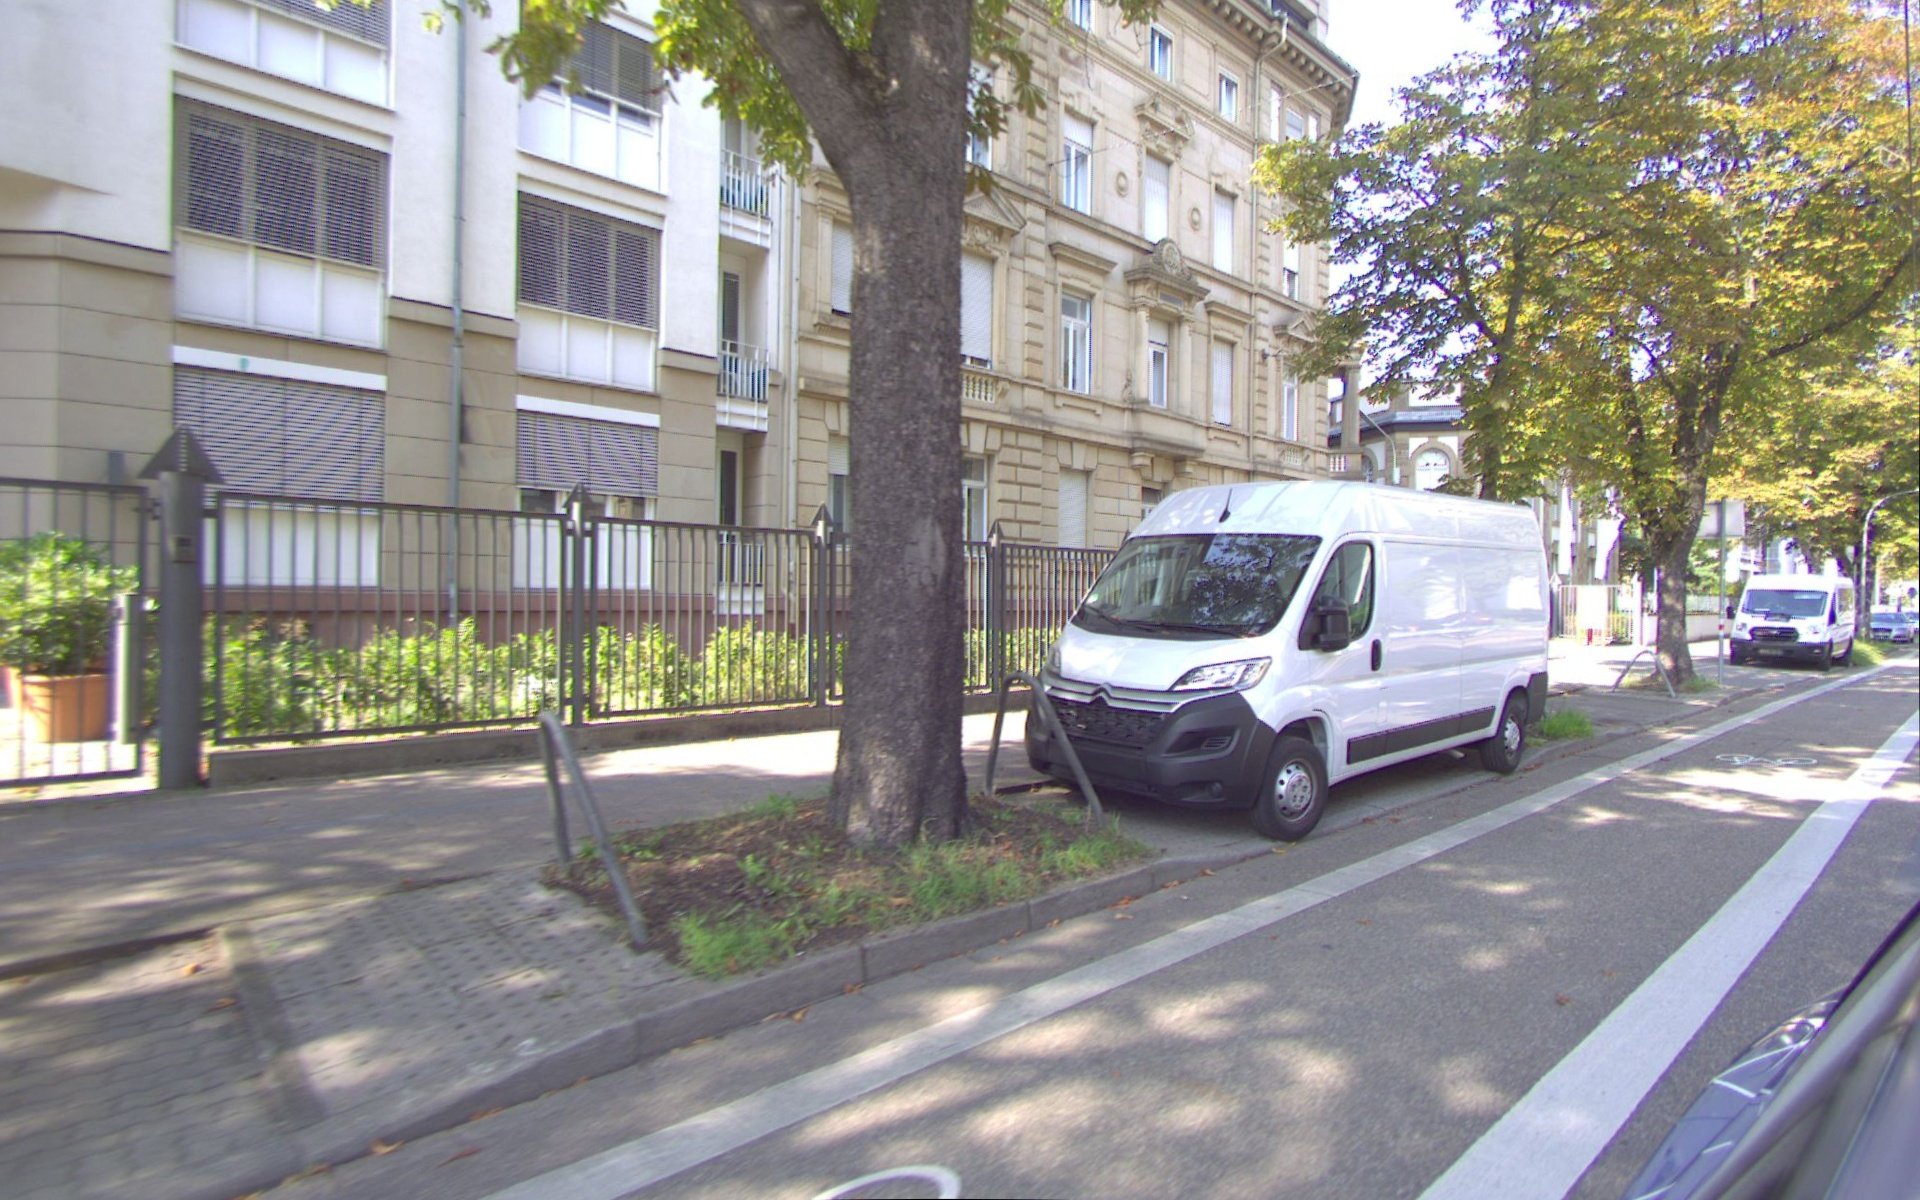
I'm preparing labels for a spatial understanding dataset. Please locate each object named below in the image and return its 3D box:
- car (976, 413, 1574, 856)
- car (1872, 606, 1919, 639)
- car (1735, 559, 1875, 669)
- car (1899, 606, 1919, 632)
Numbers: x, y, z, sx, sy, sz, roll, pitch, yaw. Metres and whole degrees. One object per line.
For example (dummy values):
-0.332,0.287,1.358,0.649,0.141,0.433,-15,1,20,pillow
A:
3.069,0.177,8.616,6.123,2.530,2.049,0,1,-43,car
42.702,0.992,45.866,3.725,1.374,1.754,0,1,-44,car
22.417,0.311,26.759,5.767,2.572,1.997,0,2,-42,car
52.410,1.042,55.056,3.725,1.374,1.754,0,1,-44,car
